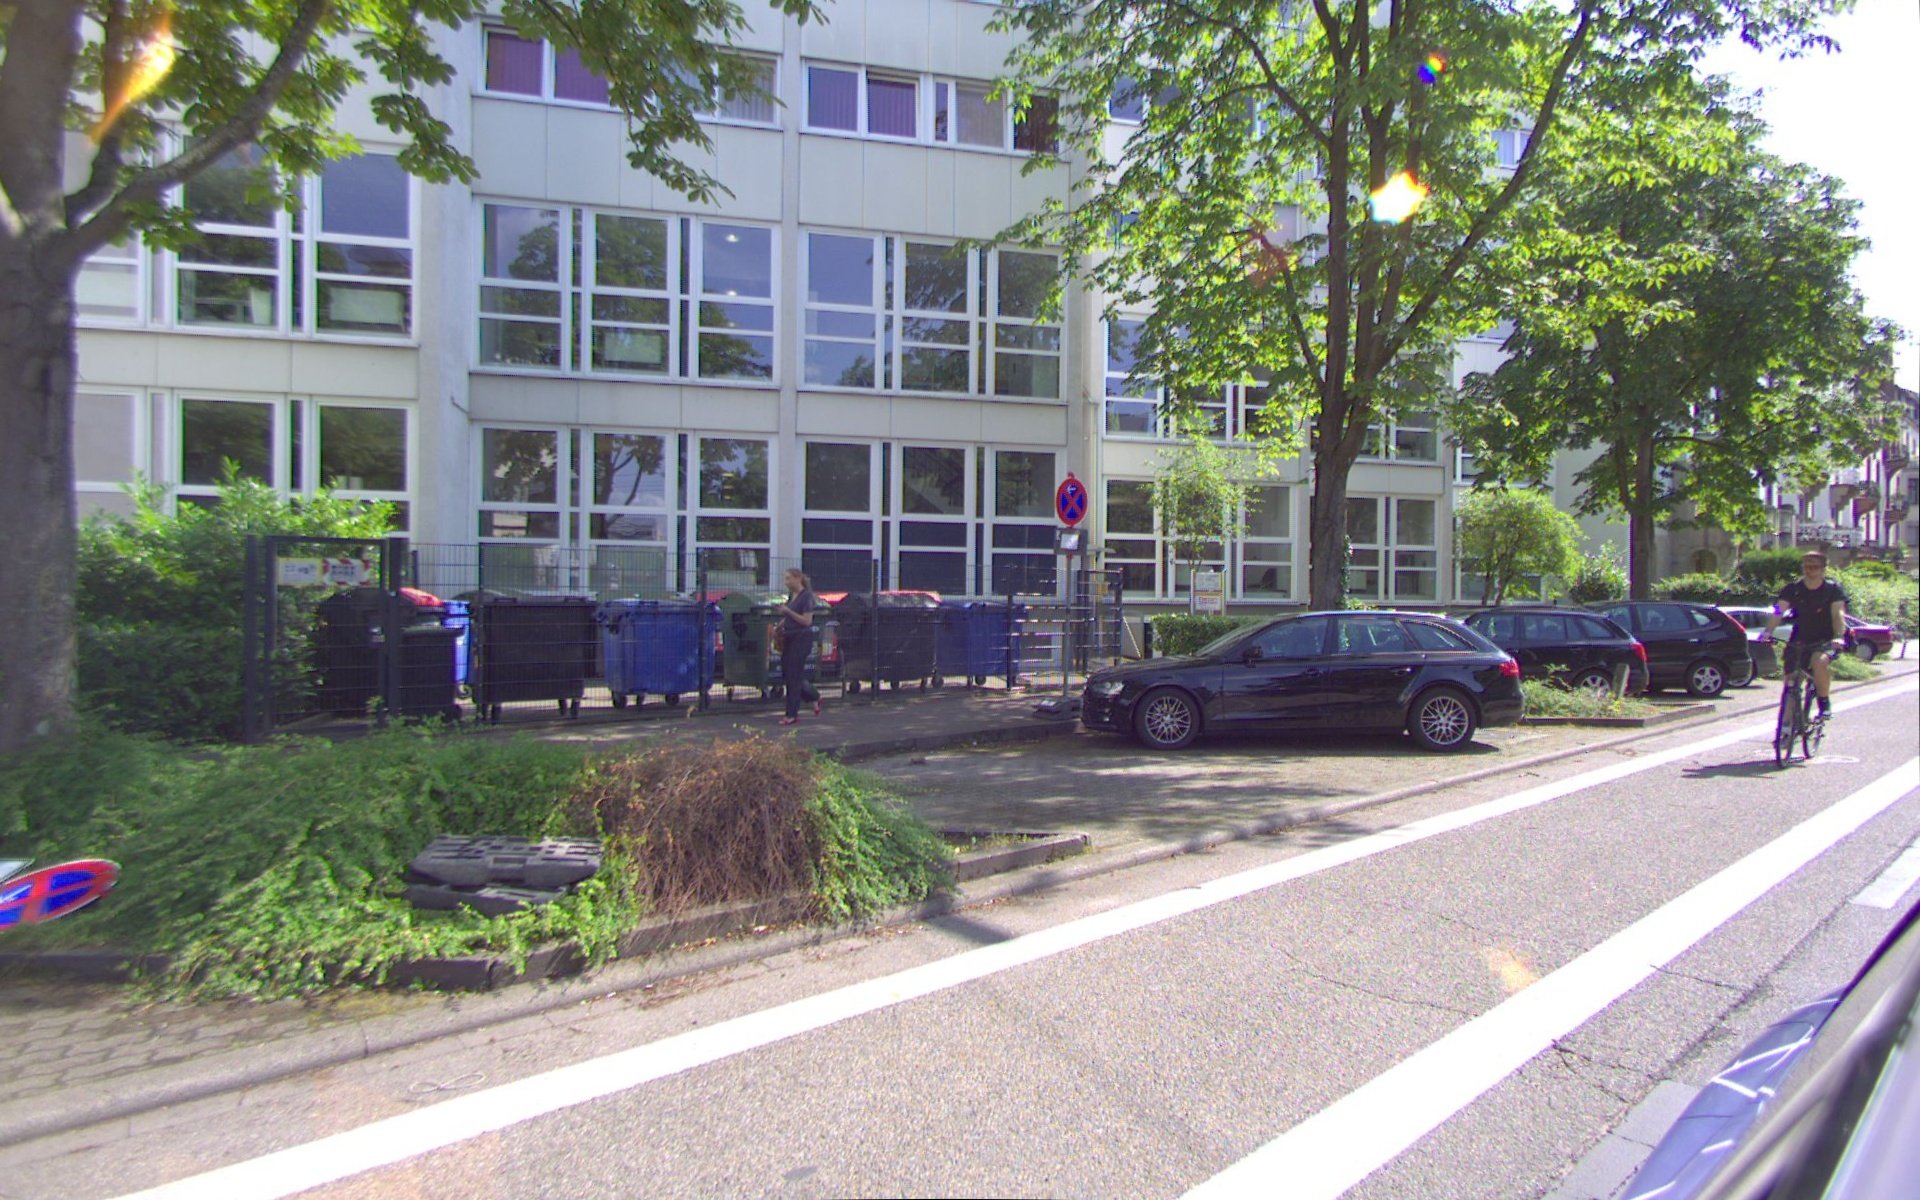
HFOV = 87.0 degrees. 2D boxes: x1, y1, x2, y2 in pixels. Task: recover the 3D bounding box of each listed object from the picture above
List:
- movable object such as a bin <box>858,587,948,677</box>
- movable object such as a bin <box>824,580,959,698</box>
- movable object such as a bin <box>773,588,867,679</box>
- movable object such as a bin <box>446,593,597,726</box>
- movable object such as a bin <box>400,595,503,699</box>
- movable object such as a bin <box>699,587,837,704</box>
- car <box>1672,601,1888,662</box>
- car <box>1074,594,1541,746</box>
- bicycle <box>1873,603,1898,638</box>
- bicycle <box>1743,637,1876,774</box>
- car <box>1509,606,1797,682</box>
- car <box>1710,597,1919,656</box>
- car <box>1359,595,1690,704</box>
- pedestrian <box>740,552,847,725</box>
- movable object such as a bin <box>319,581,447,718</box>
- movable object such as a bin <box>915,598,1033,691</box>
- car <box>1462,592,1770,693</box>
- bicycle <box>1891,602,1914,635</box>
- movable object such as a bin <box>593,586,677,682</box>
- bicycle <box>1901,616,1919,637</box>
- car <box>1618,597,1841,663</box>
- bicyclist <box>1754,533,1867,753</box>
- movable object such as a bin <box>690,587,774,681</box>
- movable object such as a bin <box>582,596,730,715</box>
[{"bbox_3d":[-1.018,0.532,17.718,1.237,1.465,1.383,1,2,-18],"label":"movable object such as a bin"},{"bbox_3d":[-0.978,0.515,14.362,1.443,1.558,1.277,0,0,-39],"label":"movable object such as a bin"},{"bbox_3d":[-2.409,0.539,17.258,1.422,1.474,1.212,-1,0,-16],"label":"movable object such as a bin"},{"bbox_3d":[-4.884,0.620,11.258,1.215,1.353,1.277,0,-1,-41],"label":"movable object such as a bin"},{"bbox_3d":[-7.198,0.632,14.409,1.237,1.355,1.216,1,2,-24],"label":"movable object such as a bin"},{"bbox_3d":[-2.558,0.593,13.498,1.274,1.456,1.331,-2,-3,43],"label":"movable object such as a bin"},{"bbox_3d":[20.748,0.775,25.757,3.933,1.467,1.695,0,0,9],"label":"car"},{"bbox_3d":[3.538,0.723,11.138,4.457,1.460,2.028,-1,-1,6],"label":"car"},{"bbox_3d":[30.730,0.662,33.609,1.975,1.122,0.280,0,4,-40],"label":"bicycle"},{"bbox_3d":[8.152,0.955,9.686,1.804,1.057,0.617,-2,5,-40],"label":"bicycle"},{"bbox_3d":[13.120,0.809,19.408,4.103,1.366,1.902,-1,-1,6],"label":"car"},{"bbox_3d":[23.279,0.696,27.583,4.091,1.441,1.862,1,1,9],"label":"car"},{"bbox_3d":[8.406,0.718,15.383,4.005,1.462,1.722,1,-2,7],"label":"car"},{"bbox_3d":[-1.927,0.418,11.695,0.983,1.897,0.763,0,0,-34],"label":"pedestrian"},{"bbox_3d":[-6.675,0.555,11.788,0.918,1.500,1.270,1,-1,-12],"label":"movable object such as a bin"},{"bbox_3d":[0.208,0.640,15.521,1.302,1.335,1.277,0,0,-39],"label":"movable object such as a bin"},{"bbox_3d":[11.064,0.700,17.363,3.934,1.595,1.900,-1,-1,9],"label":"car"},{"bbox_3d":[33.372,0.640,35.837,1.975,1.122,0.280,0,4,-40],"label":"bicycle"},{"bbox_3d":[-5.359,0.536,16.699,1.237,1.465,1.383,1,2,-18],"label":"movable object such as a bin"},{"bbox_3d":[34.800,0.969,37.053,1.531,0.685,0.280,0,4,-40],"label":"bicycle"},{"bbox_3d":[18.022,0.667,23.837,3.930,1.479,1.533,0,0,6],"label":"car"},{"bbox_3d":[8.132,0.383,9.667,1.110,1.973,0.608,0,-1,-40],"label":"bicyclist"},{"bbox_3d":[-3.857,0.538,17.022,1.237,1.465,1.383,1,2,-18],"label":"movable object such as a bin"},{"bbox_3d":[-3.739,0.638,12.439,1.335,1.353,1.277,0,-1,-41],"label":"movable object such as a bin"}]
